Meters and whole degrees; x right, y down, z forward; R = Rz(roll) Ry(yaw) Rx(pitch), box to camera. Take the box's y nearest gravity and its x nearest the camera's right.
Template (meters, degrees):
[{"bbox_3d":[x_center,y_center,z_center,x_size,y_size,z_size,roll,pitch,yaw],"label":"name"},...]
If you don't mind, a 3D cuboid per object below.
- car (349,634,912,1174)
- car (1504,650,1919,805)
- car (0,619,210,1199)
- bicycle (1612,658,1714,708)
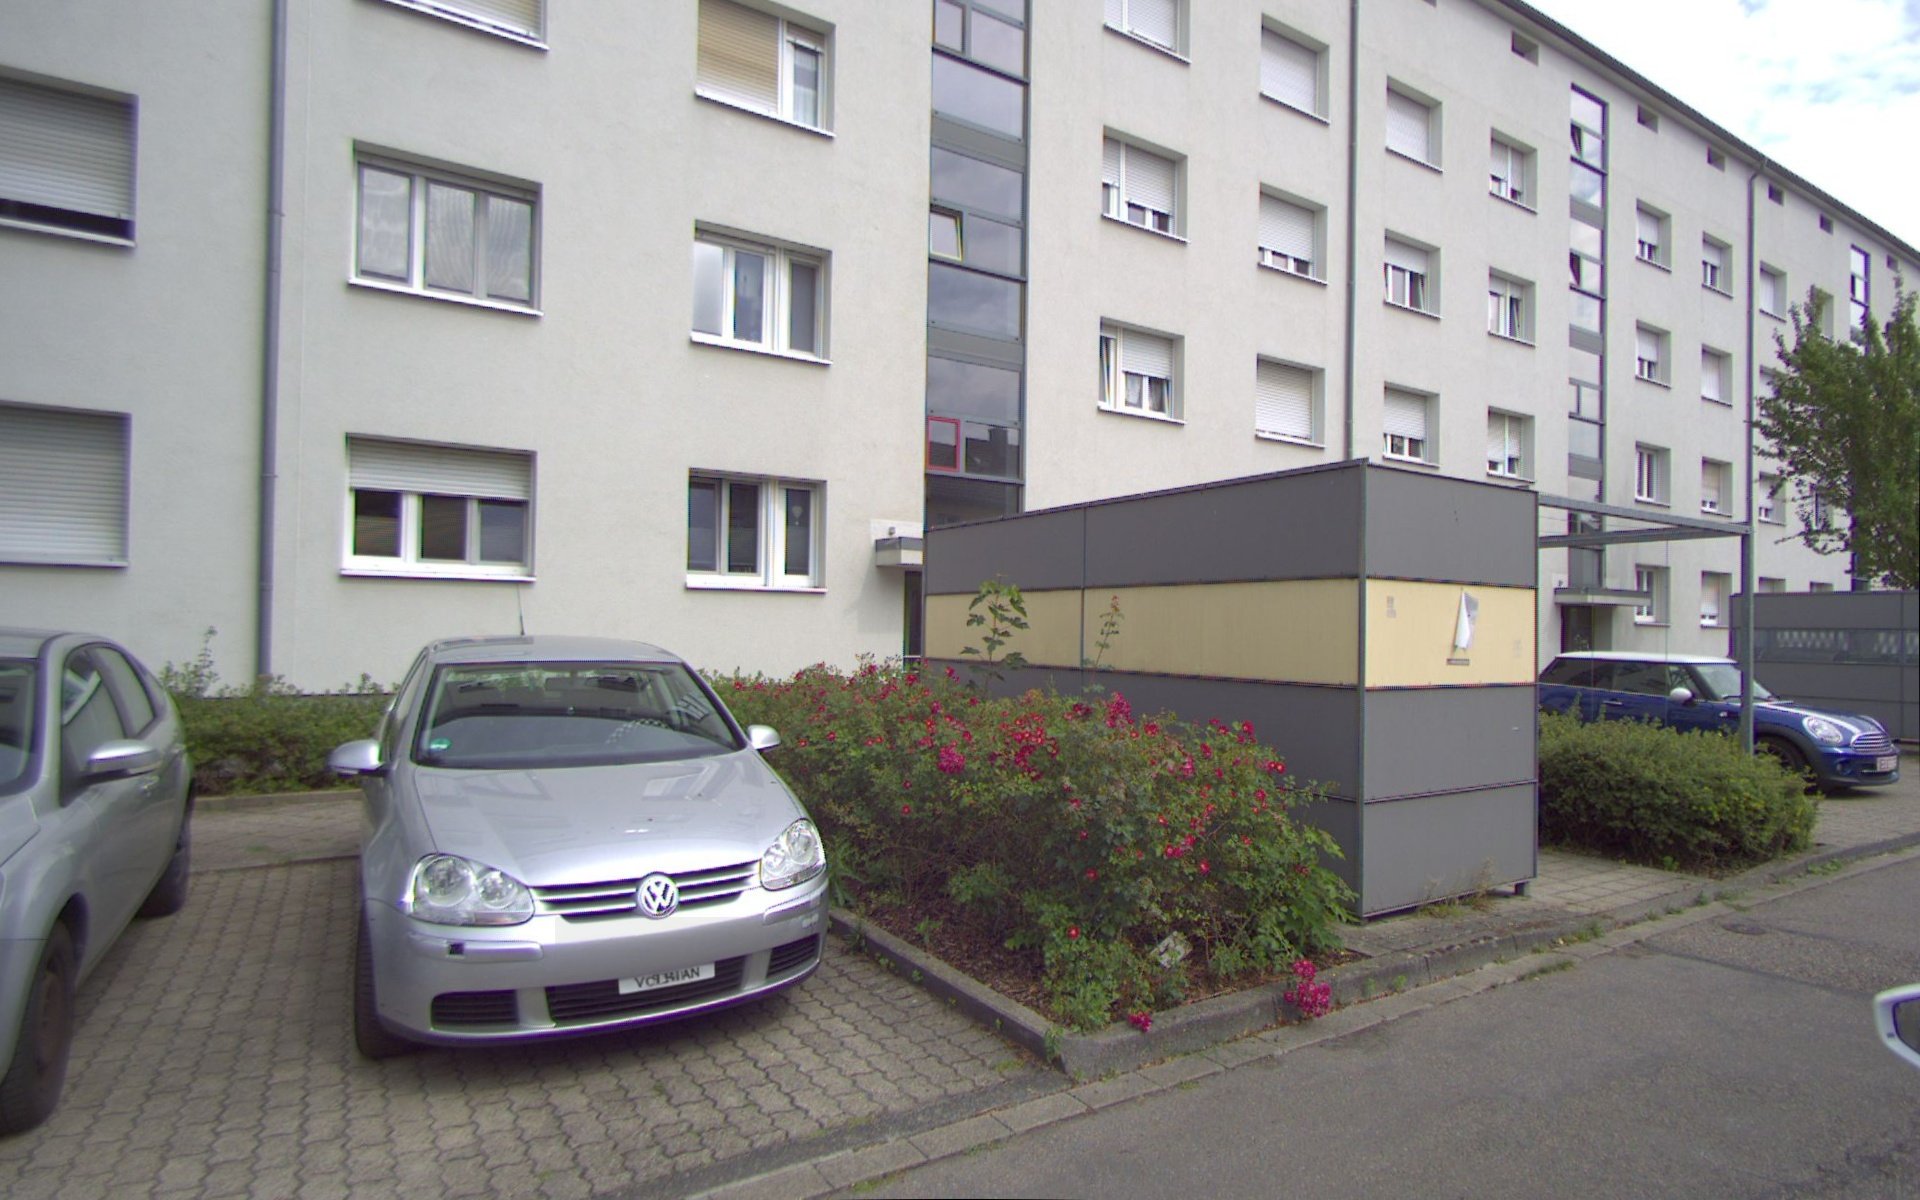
[{"bbox_3d":[-1.971,0.931,4.985,1.762,1.483,4.031,2,-3,-31],"label":"car"},{"bbox_3d":[8.592,1.340,11.767,1.632,1.480,3.621,2,-3,-28],"label":"car"},{"bbox_3d":[-4.086,0.846,3.637,1.762,1.525,4.031,2,-3,-31],"label":"car"},{"bbox_3d":[15.527,1.820,22.229,1.775,1.038,0.479,0,-1,18],"label":"bicycle"}]
